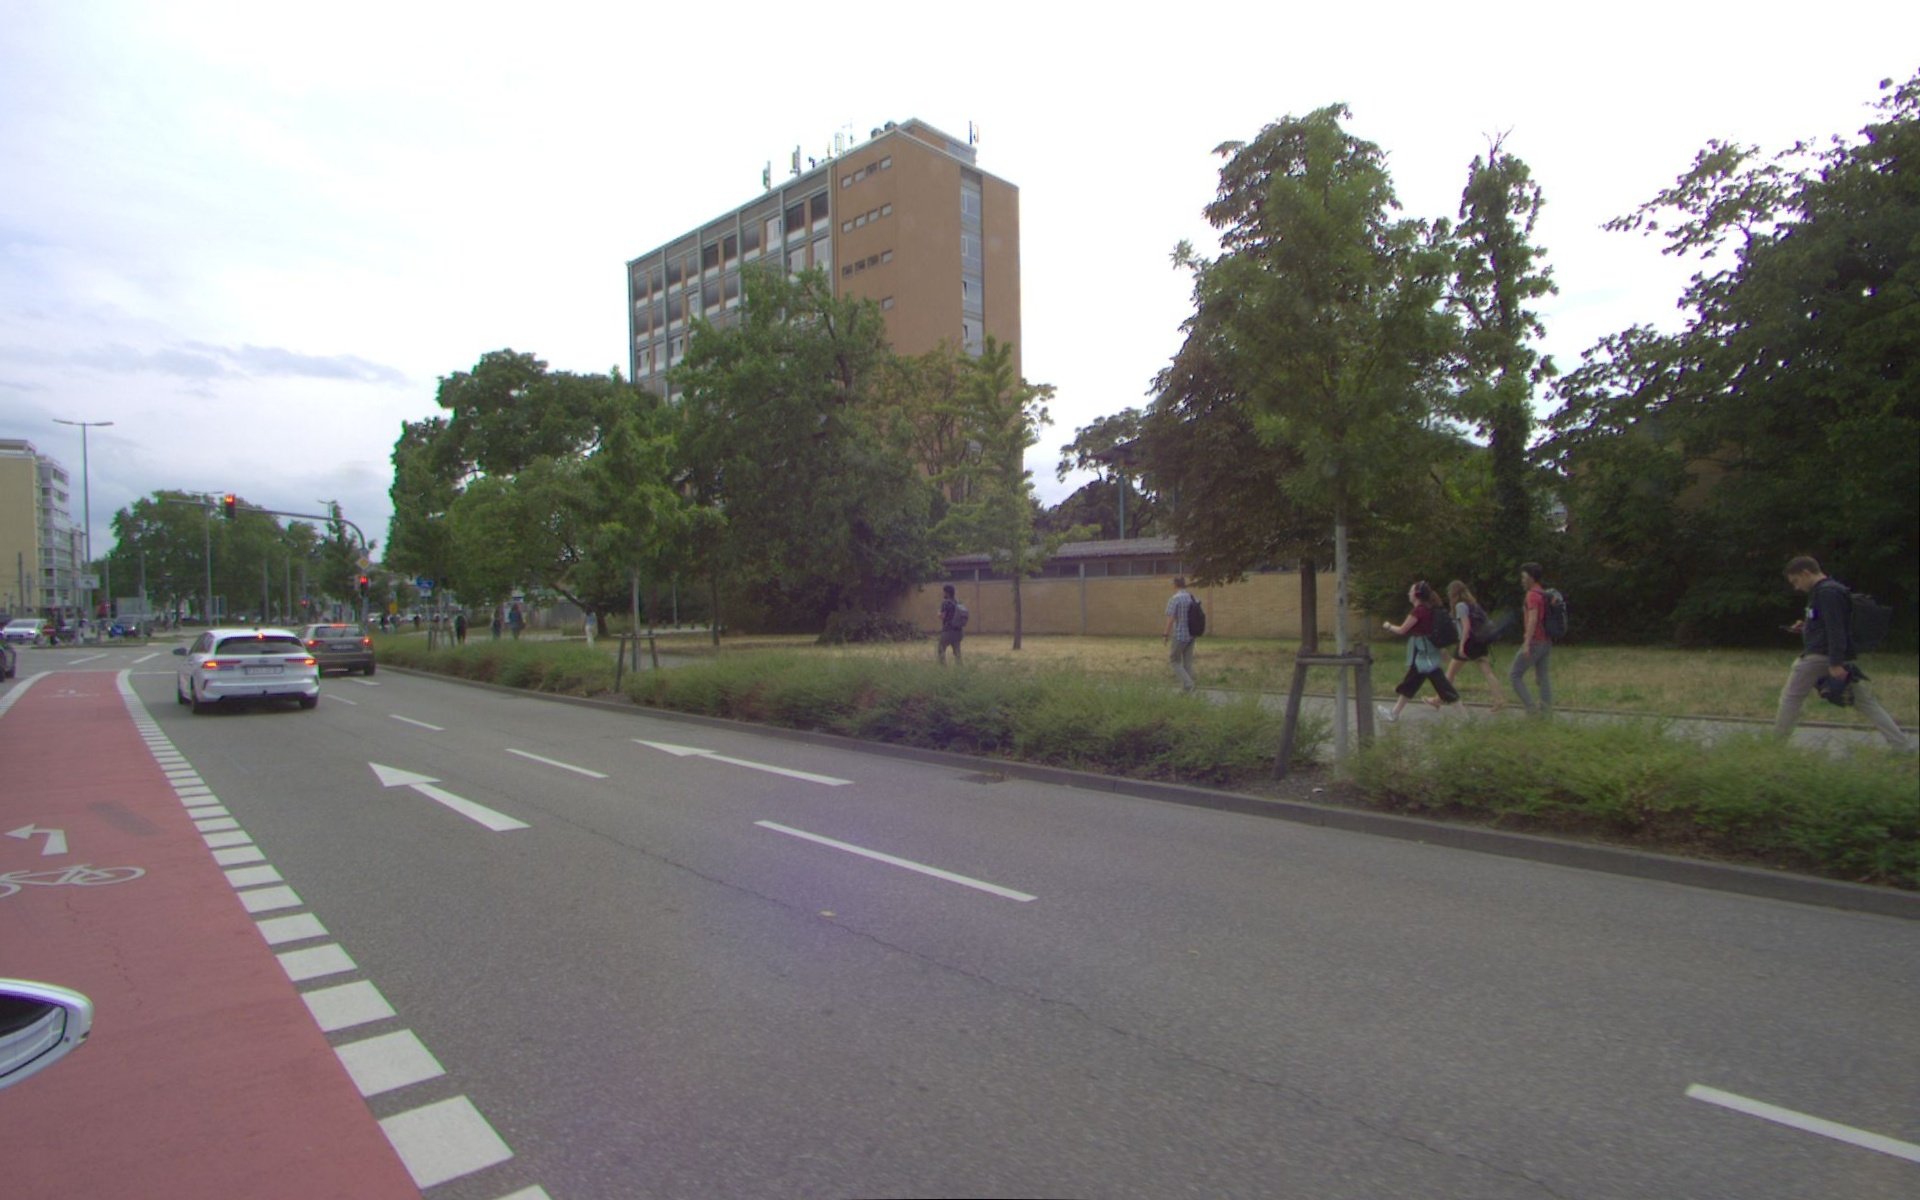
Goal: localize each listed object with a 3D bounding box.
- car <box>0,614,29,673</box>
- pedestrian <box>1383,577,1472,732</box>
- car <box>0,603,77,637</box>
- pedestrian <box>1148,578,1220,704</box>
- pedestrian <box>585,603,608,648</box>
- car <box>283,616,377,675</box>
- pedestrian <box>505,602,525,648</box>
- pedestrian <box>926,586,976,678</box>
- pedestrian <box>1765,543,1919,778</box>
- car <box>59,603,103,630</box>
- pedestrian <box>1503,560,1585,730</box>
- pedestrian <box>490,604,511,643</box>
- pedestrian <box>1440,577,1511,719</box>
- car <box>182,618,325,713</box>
[{"bbox_3d":[-24.954,1.077,25.549,1.644,1.415,3.821,-1,0,-44],"label":"car"},{"bbox_3d":[5.266,0.594,11.286,0.551,1.677,0.746,-2,1,-42],"label":"pedestrian"},{"bbox_3d":[-61.633,1.315,66.920,2.552,2.137,5.576,-1,0,-27],"label":"car"},{"bbox_3d":[3.234,0.574,14.473,0.614,1.759,0.807,-2,1,-42],"label":"pedestrian"},{"bbox_3d":[-12.349,0.852,34.013,0.649,1.490,0.559,-1,1,-25],"label":"pedestrian"},{"bbox_3d":[-17.651,1.220,28.006,1.711,1.477,3.703,-1,0,-40],"label":"car"},{"bbox_3d":[-17.379,0.968,39.102,0.638,1.736,0.559,-1,1,-27],"label":"pedestrian"},{"bbox_3d":[-0.170,0.586,19.006,0.583,1.705,0.741,-2,1,-42],"label":"pedestrian"},{"bbox_3d":[7.473,0.478,8.469,0.687,1.846,0.945,-2,1,-42],"label":"pedestrian"},{"bbox_3d":[-65.194,1.195,74.316,1.788,1.875,3.975,-1,0,-33],"label":"car"},{"bbox_3d":[6.346,0.473,10.890,0.480,1.787,0.658,-2,1,-42],"label":"pedestrian"},{"bbox_3d":[-20.887,1.044,45.484,0.792,1.736,0.761,-1,1,-29],"label":"pedestrian"},{"bbox_3d":[6.223,0.562,12.092,0.464,1.655,0.647,-2,1,-42],"label":"pedestrian"},{"bbox_3d":[-13.099,1.096,18.438,1.726,1.458,4.741,-1,0,-40],"label":"car"}]
